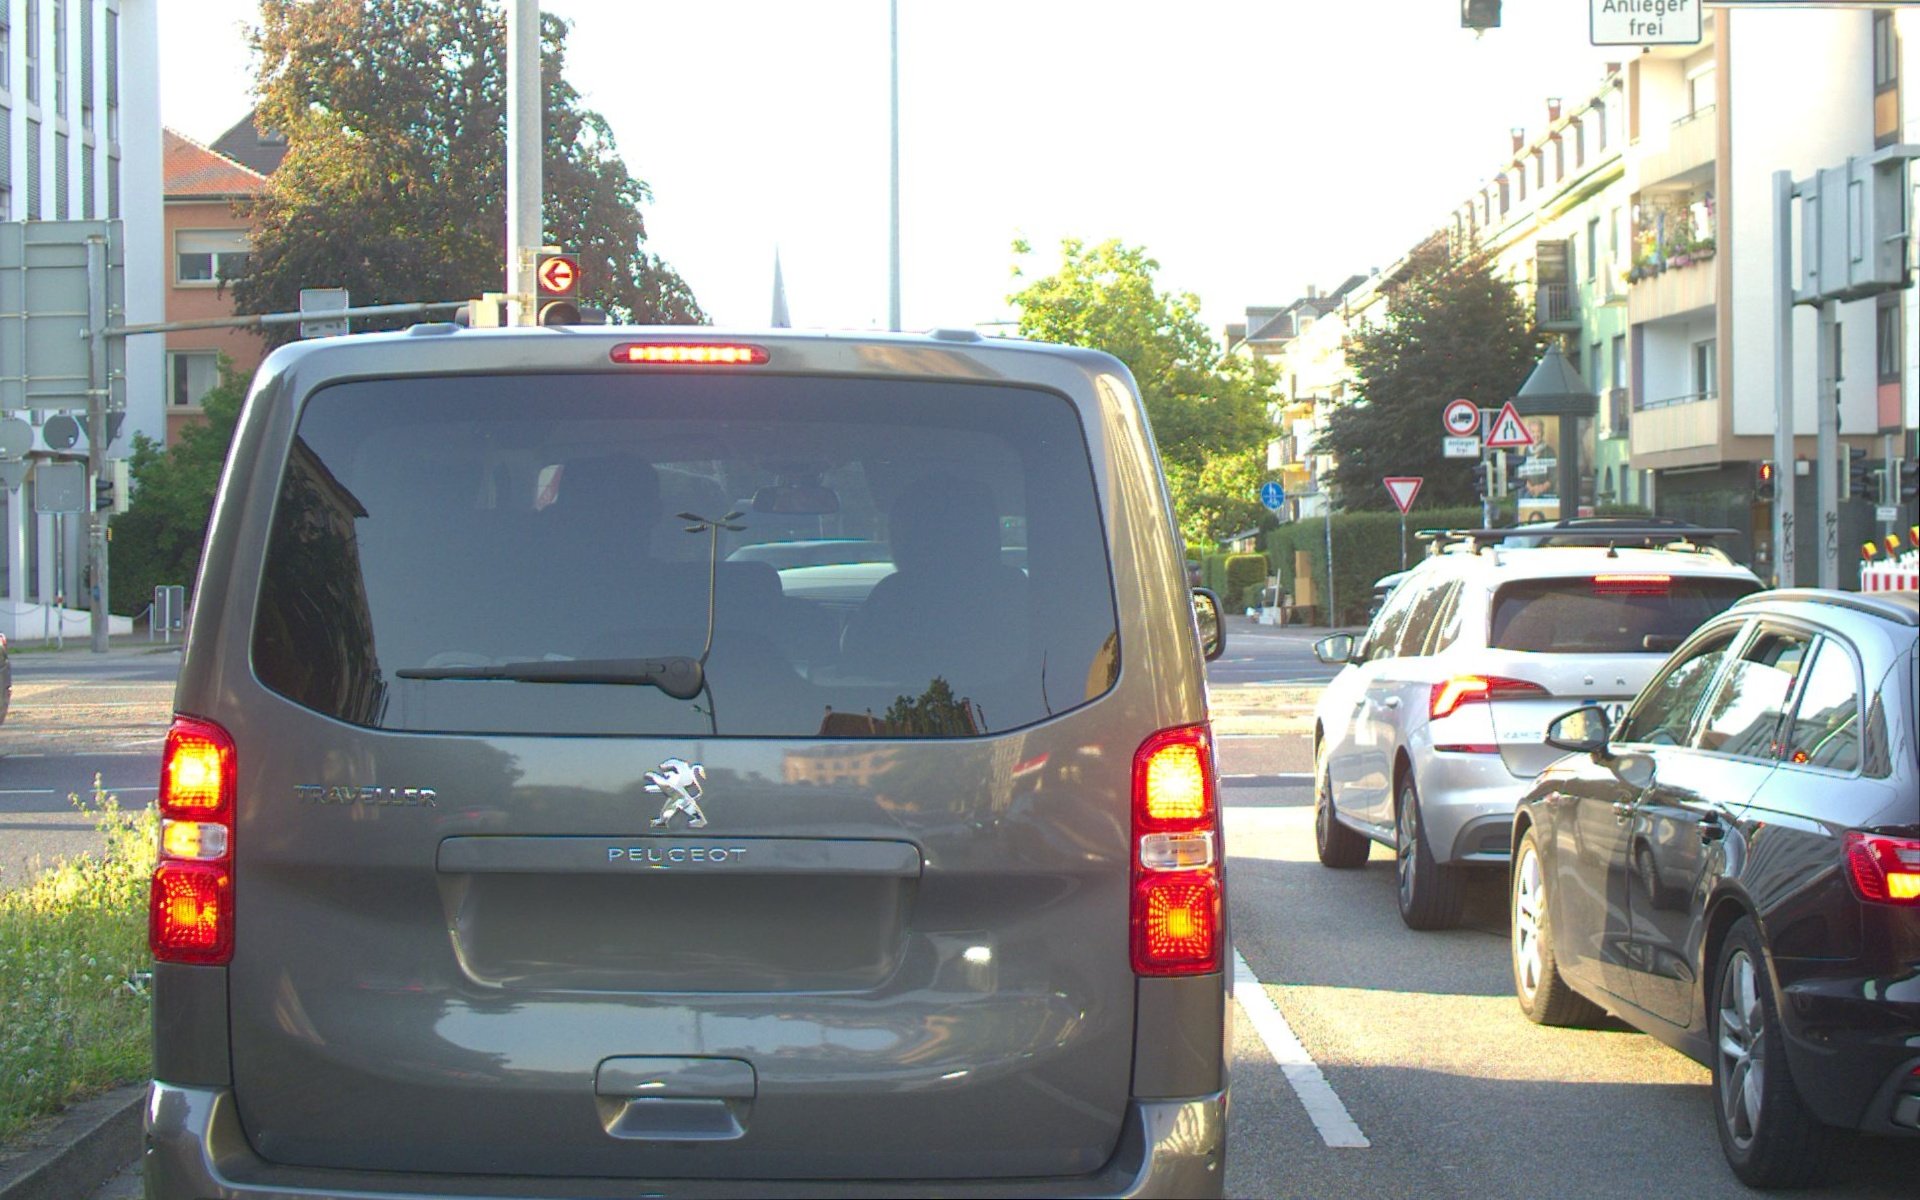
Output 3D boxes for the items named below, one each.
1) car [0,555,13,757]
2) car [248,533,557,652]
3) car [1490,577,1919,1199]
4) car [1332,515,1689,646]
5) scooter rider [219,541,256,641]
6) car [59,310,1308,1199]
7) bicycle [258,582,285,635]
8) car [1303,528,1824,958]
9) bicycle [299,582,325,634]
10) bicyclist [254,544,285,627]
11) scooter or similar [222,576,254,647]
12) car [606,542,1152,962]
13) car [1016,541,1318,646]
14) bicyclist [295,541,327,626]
[{"bbox_3d":[-7.940,0.445,22.655,1.698,1.437,4.240,-1,1,8],"label":"car"},{"bbox_3d":[-7.719,-0.107,47.914,4.117,1.588,1.795,-1,0,-5],"label":"car"},{"bbox_3d":[2.626,0.681,9.223,1.681,1.416,4.214,1,1,-1],"label":"car"},{"bbox_3d":[6.672,-0.258,41.656,3.986,1.511,1.682,-1,1,-24],"label":"car"},{"bbox_3d":[-12.260,-0.160,58.332,0.481,1.691,0.636,0,1,-1],"label":"scooter rider"},{"bbox_3d":[-0.459,0.460,7.577,1.907,1.857,4.527,1,1,-1],"label":"car"},{"bbox_3d":[-12.770,0.155,63.775,0.291,0.945,1.072,0,1,-1],"label":"bicycle"},{"bbox_3d":[2.473,0.511,14.901,1.528,1.608,3.745,1,1,-1],"label":"car"},{"bbox_3d":[-11.983,0.142,63.578,0.276,0.945,1.072,0,1,-1],"label":"bicycle"},{"bbox_3d":[-12.789,-0.271,63.697,0.462,1.516,0.469,0,1,-1],"label":"bicyclist"},{"bbox_3d":[-12.266,0.191,58.426,0.285,1.184,1.169,0,1,-1],"label":"scooter or similar"},{"bbox_3d":[-0.321,0.525,14.630,1.993,1.525,4.000,0,1,-1],"label":"car"},{"bbox_3d":[2.753,-0.107,46.184,3.816,1.349,1.727,-1,1,-6],"label":"car"},{"bbox_3d":[-11.999,-0.304,63.542,0.477,1.550,0.509,0,1,-1],"label":"bicyclist"}]
